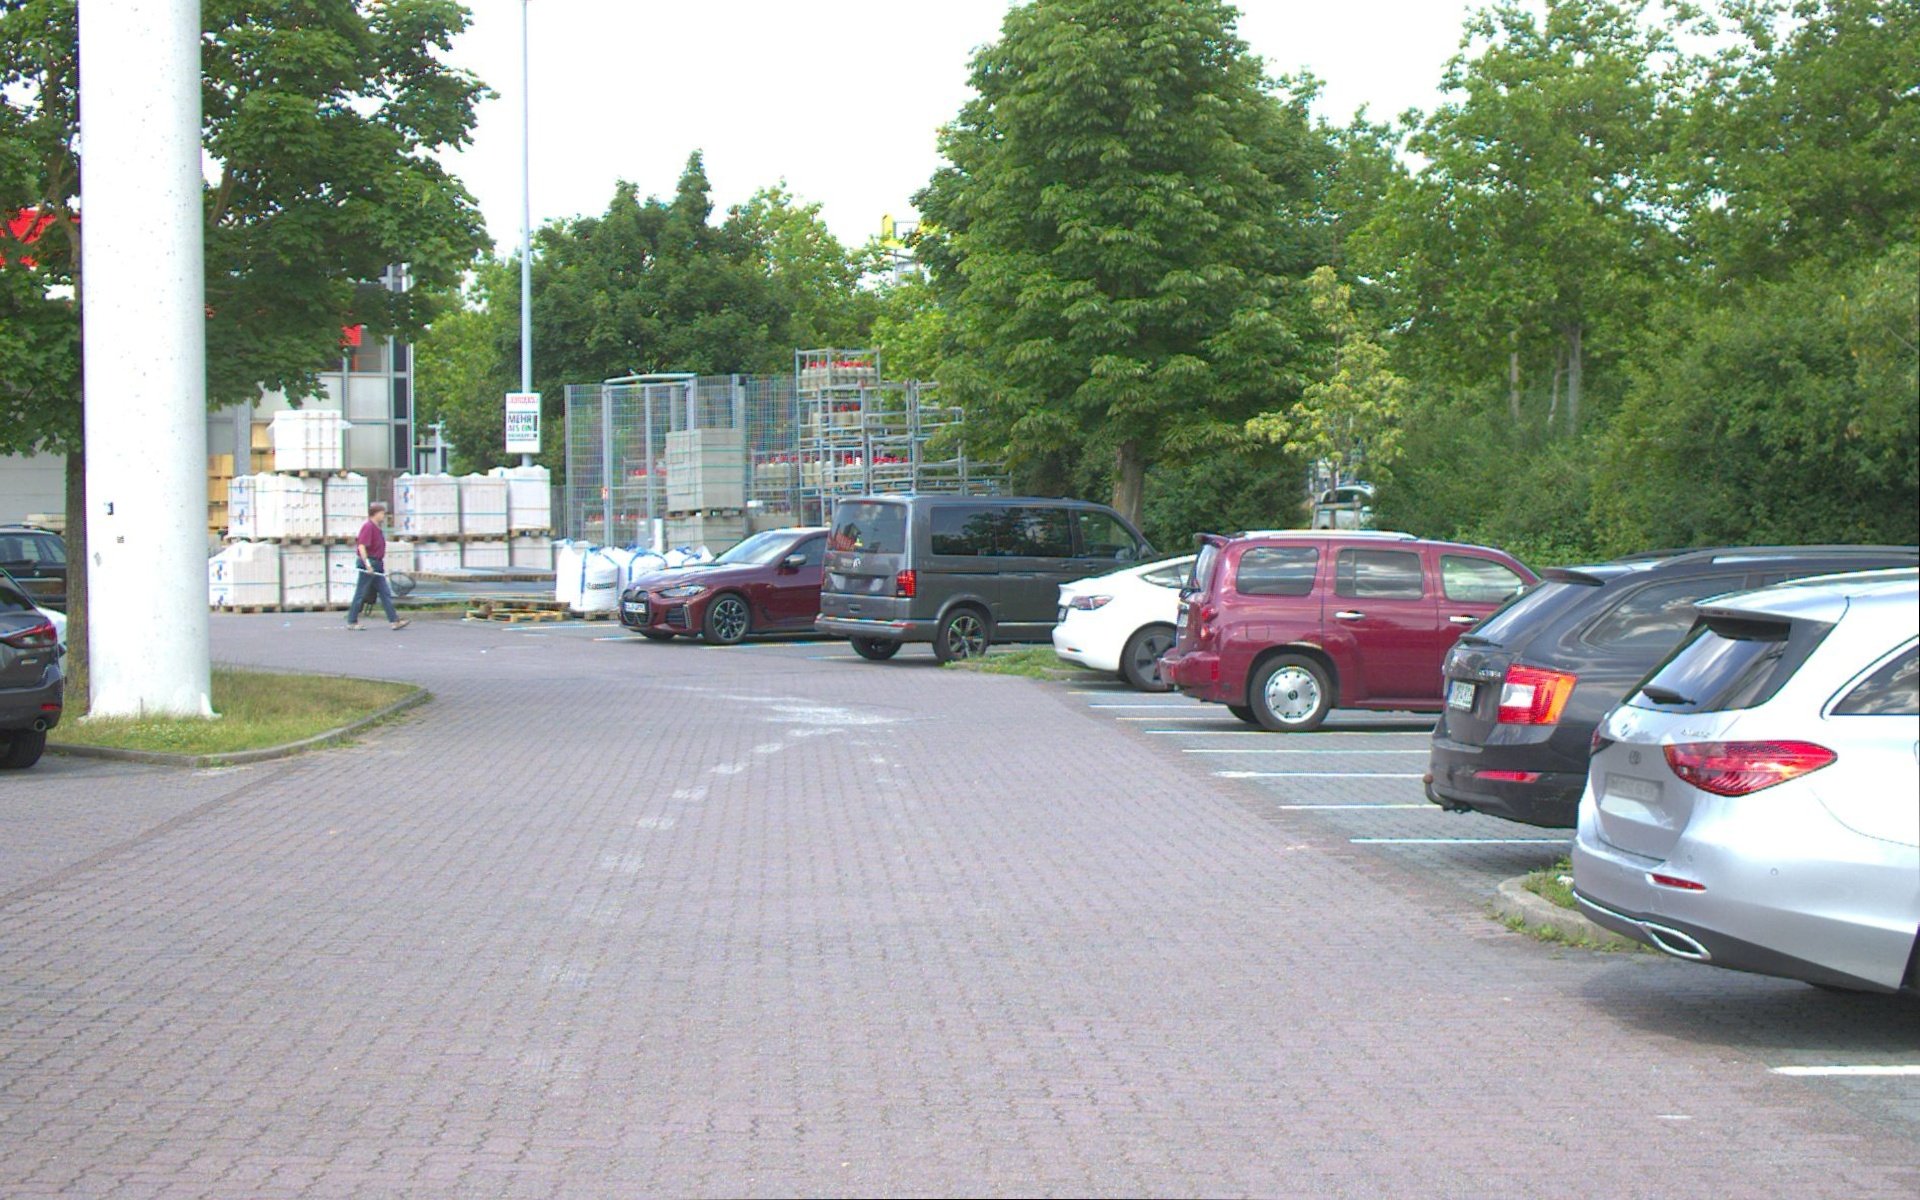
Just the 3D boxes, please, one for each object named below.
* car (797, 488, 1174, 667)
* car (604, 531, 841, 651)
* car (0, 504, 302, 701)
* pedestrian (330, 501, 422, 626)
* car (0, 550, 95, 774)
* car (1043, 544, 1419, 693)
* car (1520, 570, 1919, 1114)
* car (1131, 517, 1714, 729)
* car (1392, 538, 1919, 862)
[{"bbox_3d":[0.317,-0.234,40.537,4.044,2.012,1.947,1,0,-33],"label":"car"},{"bbox_3d":[-3.038,-0.100,44.027,2.681,1.427,1.355,2,-1,-30],"label":"car"},{"bbox_3d":[-7.528,-0.018,30.707,1.993,1.612,4.000,-1,1,-30],"label":"car"},{"bbox_3d":[-7.851,-0.498,46.251,0.920,1.660,0.784,0,1,25],"label":"pedestrian"},{"bbox_3d":[-7.724,0.391,23.482,1.823,1.434,4.089,-2,2,-41],"label":"car"},{"bbox_3d":[2.730,0.187,35.137,3.632,1.463,1.634,0,0,-3],"label":"car"},{"bbox_3d":[4.252,0.653,10.751,4.638,1.499,1.785,-1,1,-4],"label":"car"},{"bbox_3d":[3.662,0.153,27.716,4.305,1.590,2.000,-1,1,-5],"label":"car"},{"bbox_3d":[4.130,0.461,15.767,3.986,1.376,1.699,1,-1,-4],"label":"car"}]
